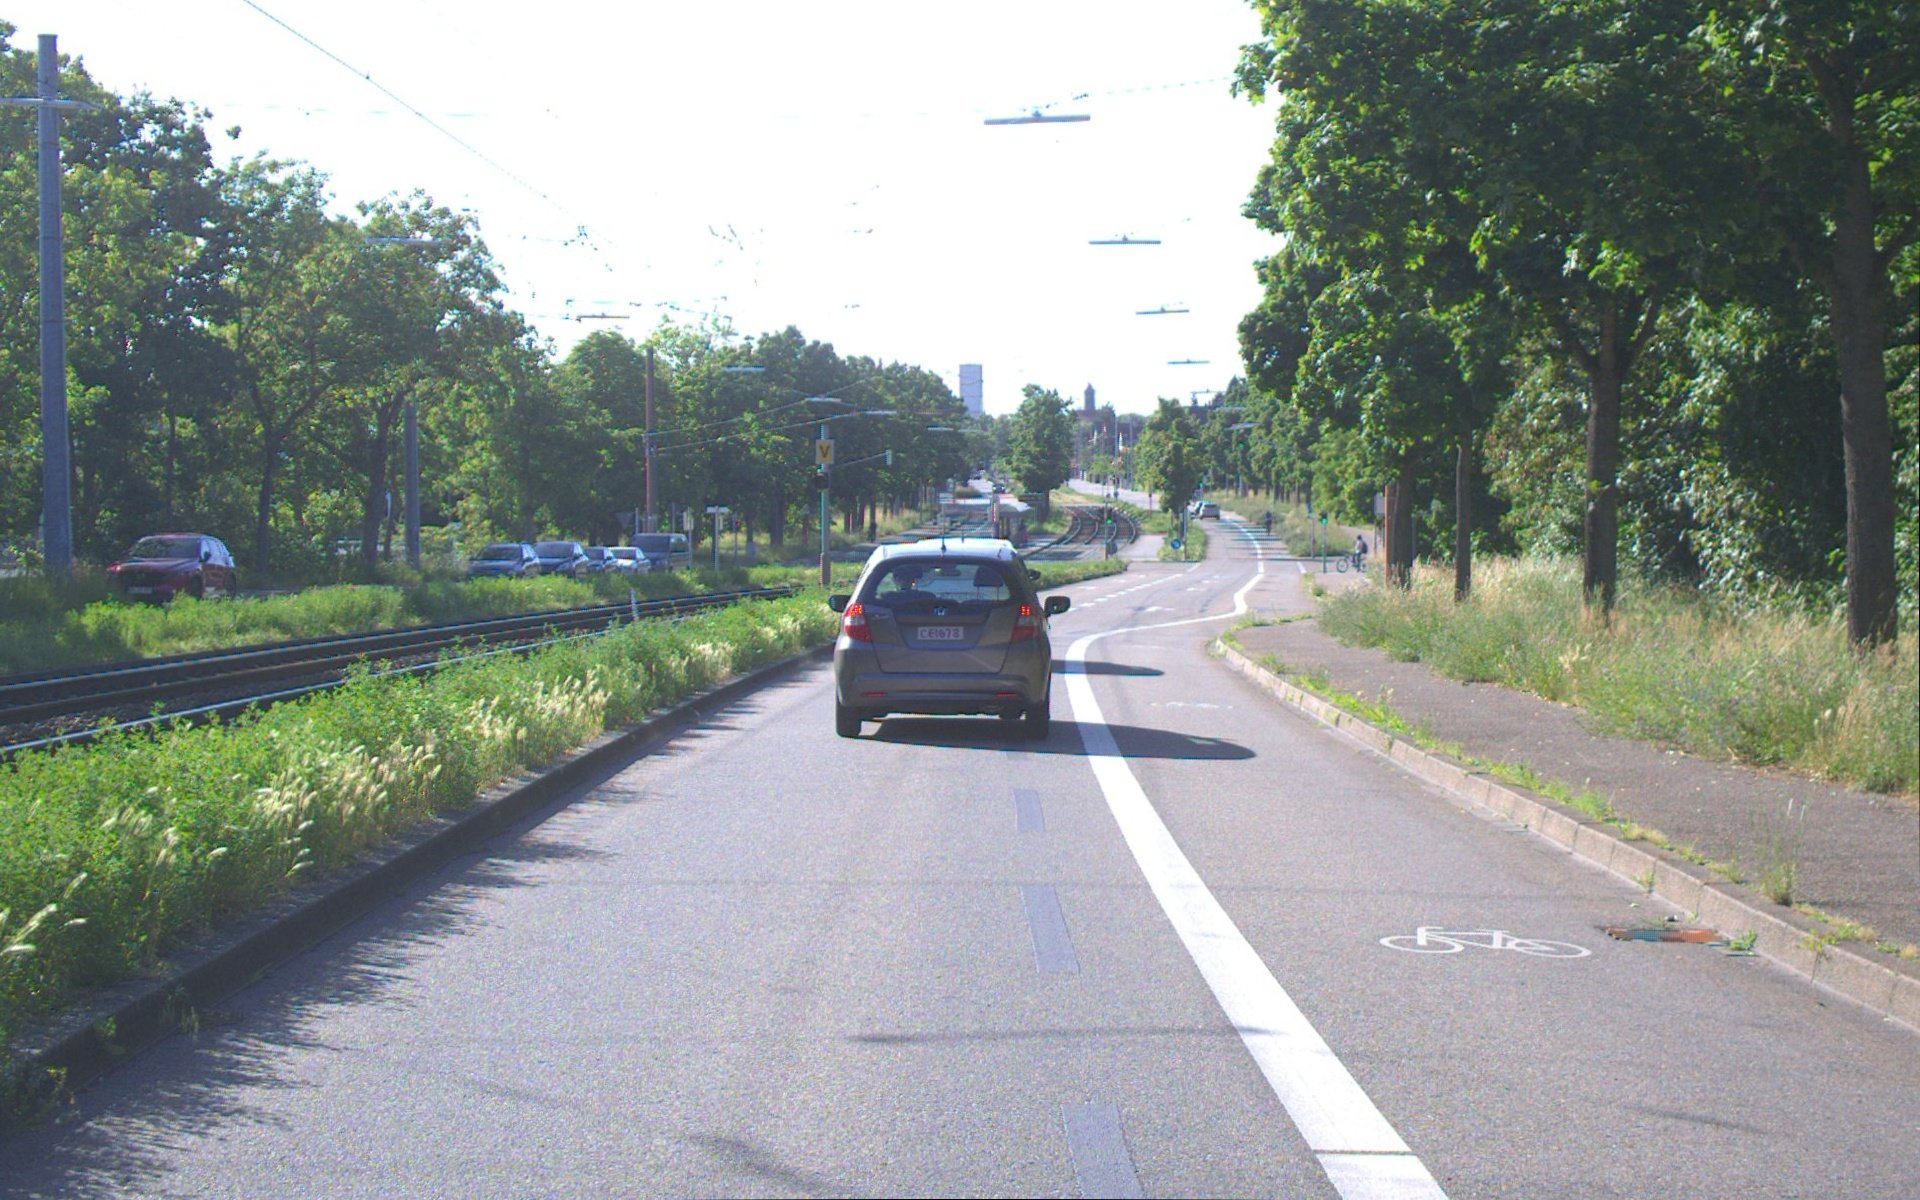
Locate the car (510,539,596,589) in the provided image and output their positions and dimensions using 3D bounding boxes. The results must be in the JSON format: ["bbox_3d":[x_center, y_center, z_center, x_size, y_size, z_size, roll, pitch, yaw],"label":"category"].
[{"bbox_3d":[-13.384,-1.207,113.260,1.994,1.569,4.434,1,1,4],"label":"car"}]

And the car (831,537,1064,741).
[{"bbox_3d":[-0.037,0.258,28.005,1.707,1.503,4.000,1,1,2],"label":"car"}]

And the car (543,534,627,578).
[{"bbox_3d":[-12.969,-1.539,119.140,1.994,1.432,4.414,1,1,6],"label":"car"}]

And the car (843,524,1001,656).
[{"bbox_3d":[-0.445,-0.164,44.393,1.851,1.601,4.255,1,1,2],"label":"car"}]

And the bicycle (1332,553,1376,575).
[{"bbox_3d":[18.654,-1.714,162.705,1.921,0.994,0.764,-2,0,17],"label":"bicycle"}]

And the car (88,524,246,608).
[{"bbox_3d":[-16.696,-0.730,72.612,2.004,1.696,4.466,1,1,4],"label":"car"}]

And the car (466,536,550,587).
[{"bbox_3d":[-14.000,-1.205,106.631,1.735,1.489,4.327,2,1,4],"label":"car"}]

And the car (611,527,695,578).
[{"bbox_3d":[-11.713,-1.838,131.496,2.197,1.885,4.790,1,1,8],"label":"car"}]

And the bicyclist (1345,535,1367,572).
[{"bbox_3d":[18.735,-2.194,162.706,0.911,1.739,0.764,-1,0,17],"label":"bicyclist"}]
